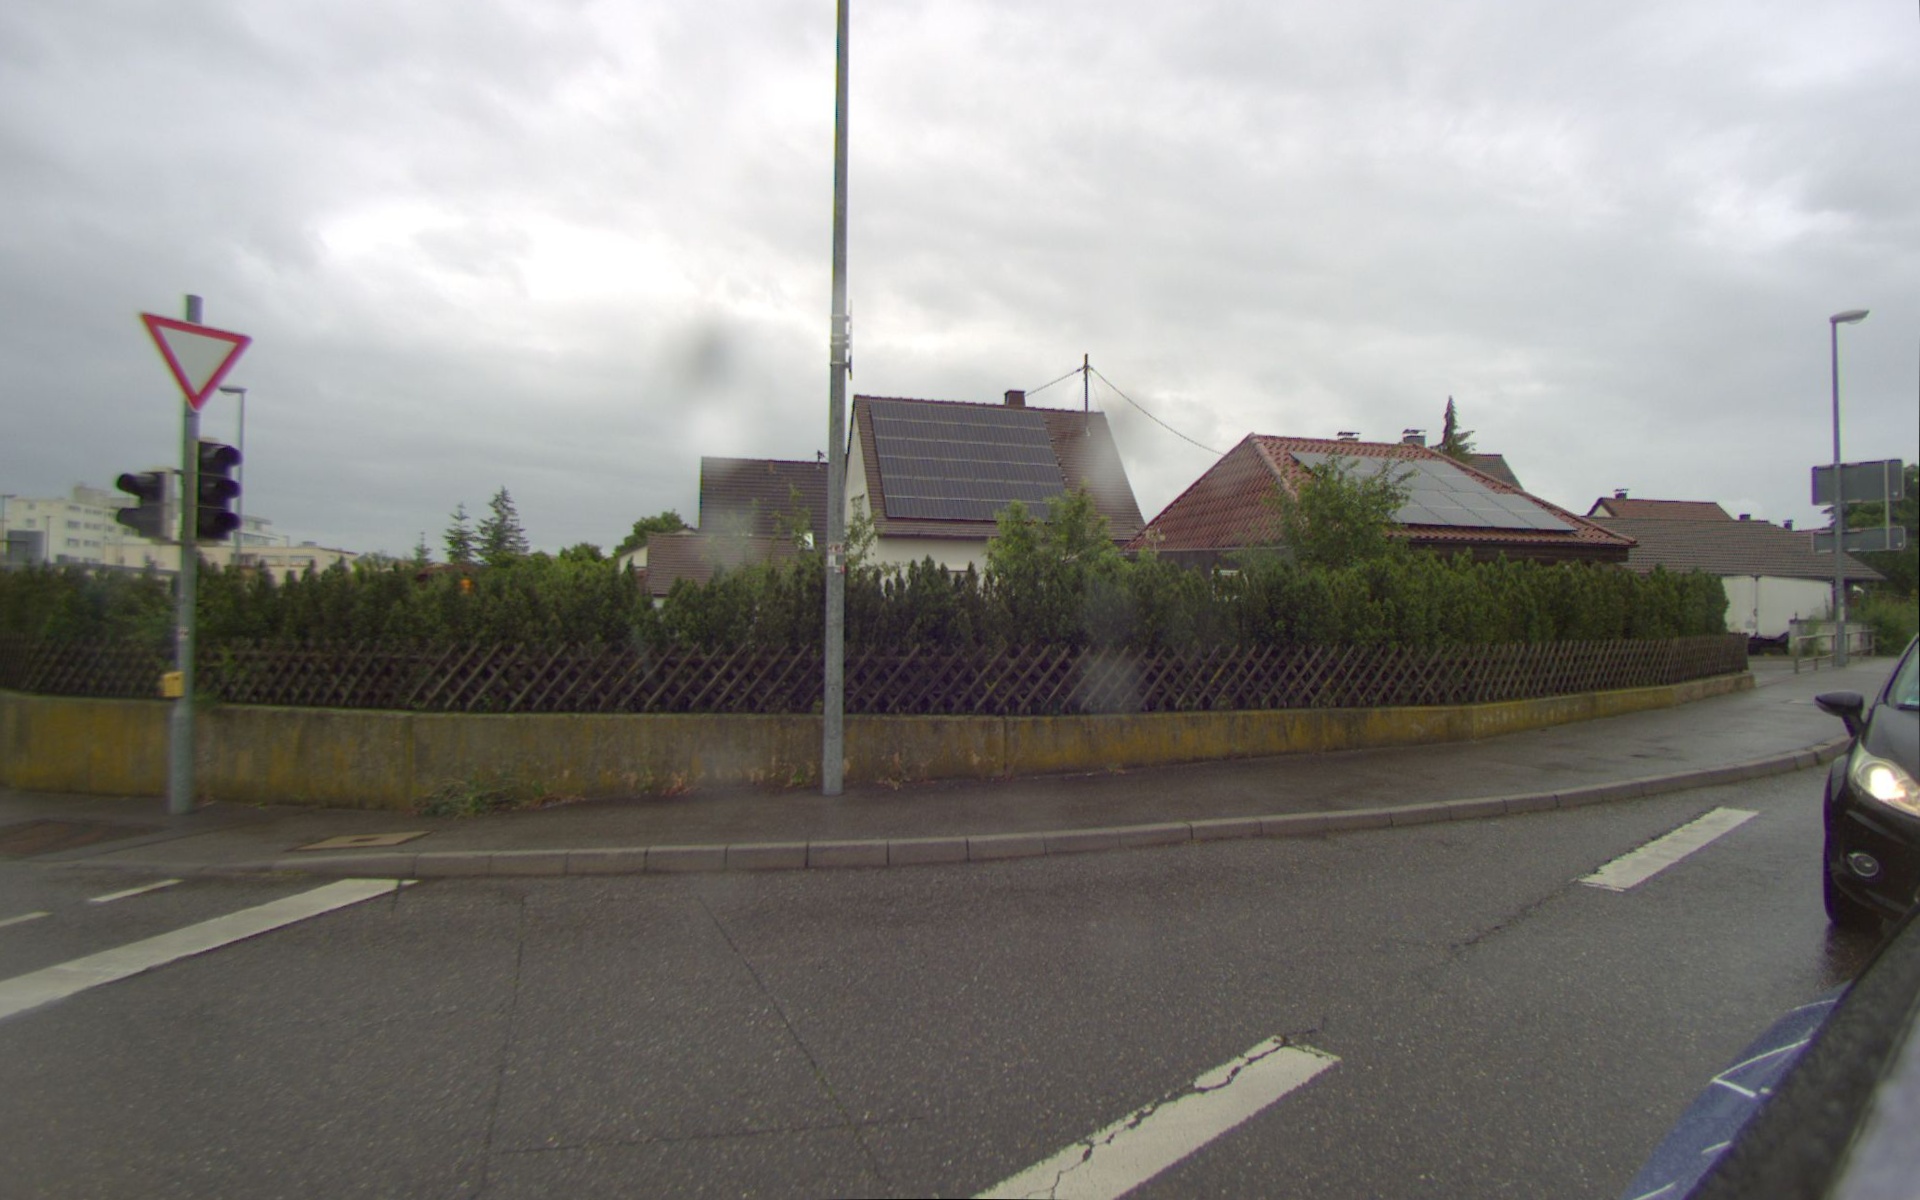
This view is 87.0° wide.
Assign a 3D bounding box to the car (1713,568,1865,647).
[{"bbox_3d":[25.985,0.205,31.758,3.916,2.380,1.657,0,0,-15],"label":"car"}]

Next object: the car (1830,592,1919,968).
[{"bbox_3d":[5.565,0.700,4.893,3.867,1.436,1.663,-1,1,-43],"label":"car"}]
